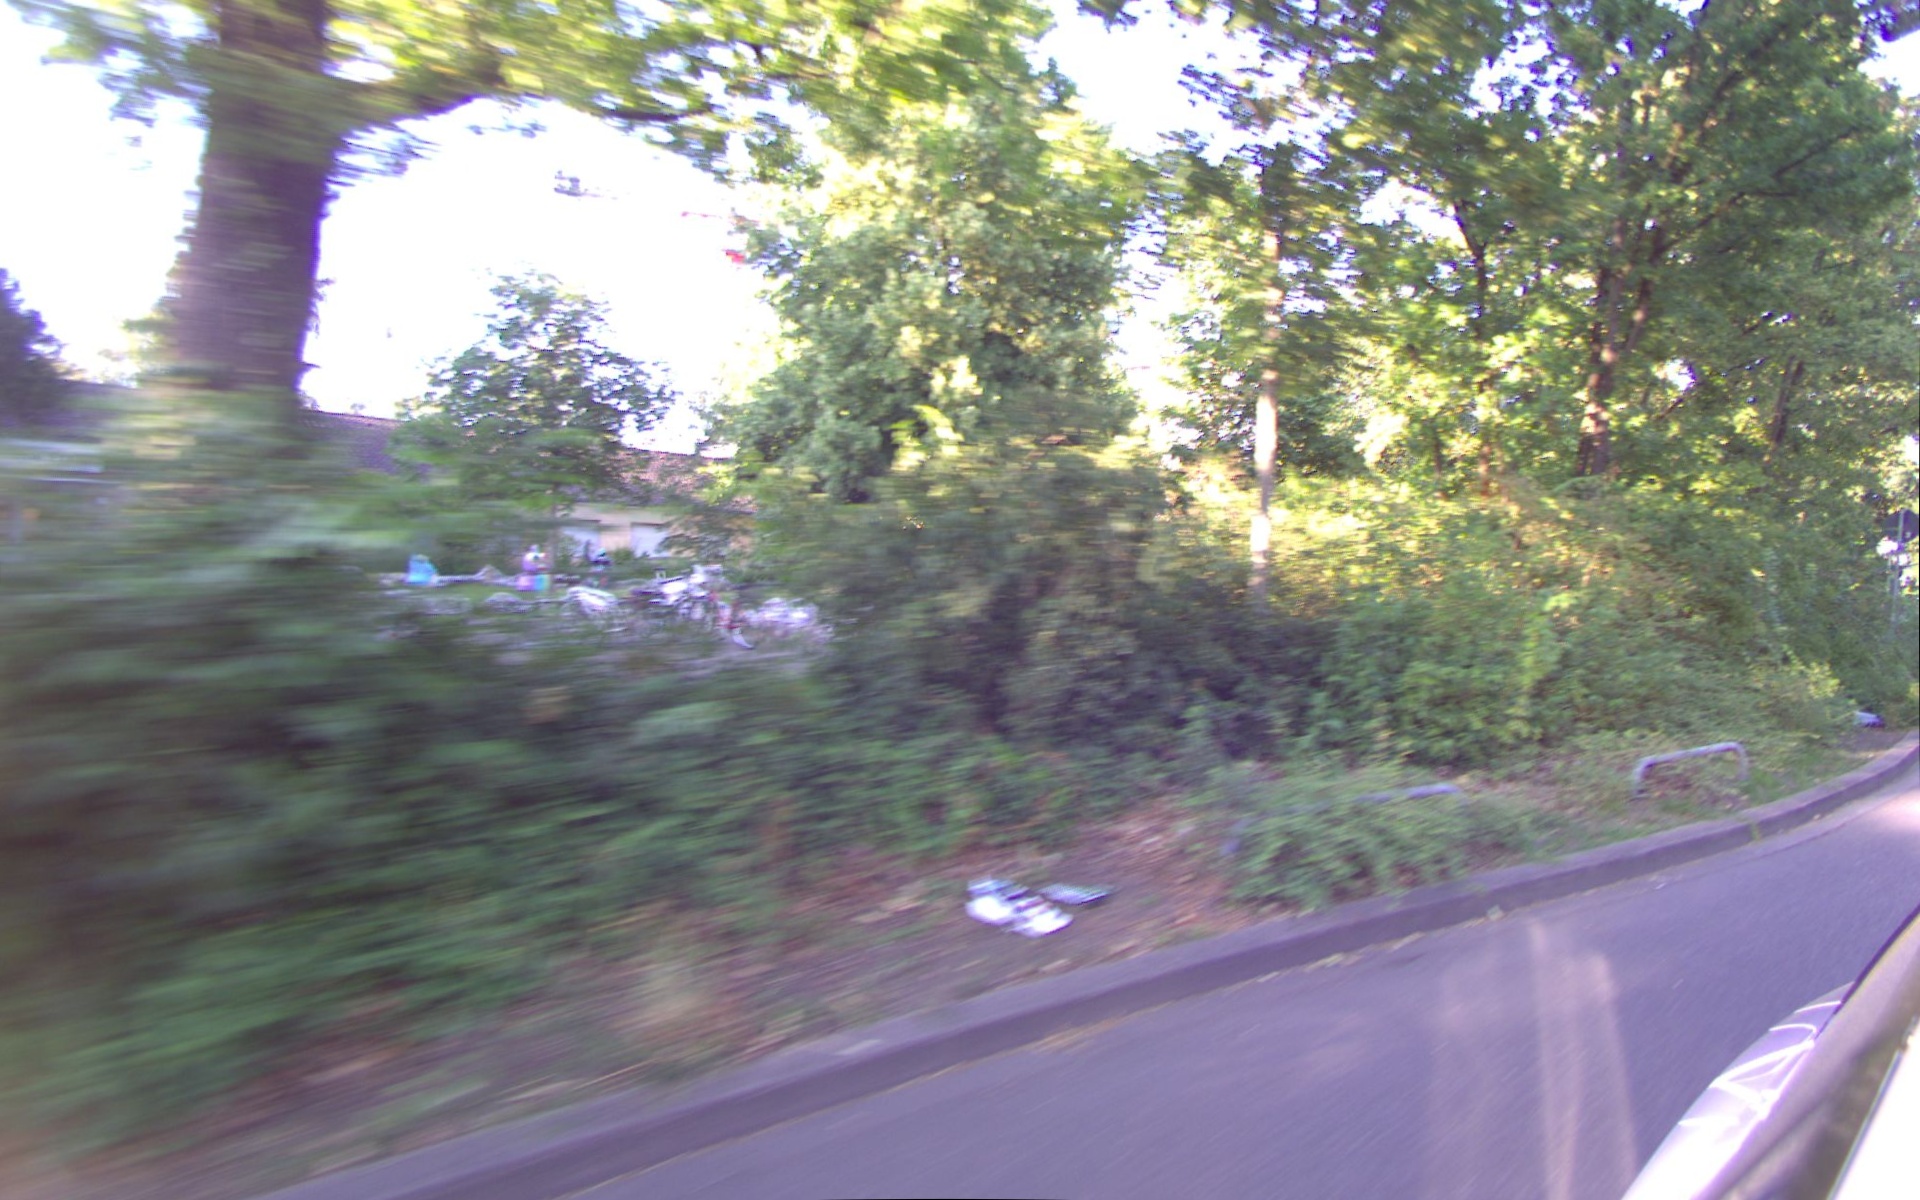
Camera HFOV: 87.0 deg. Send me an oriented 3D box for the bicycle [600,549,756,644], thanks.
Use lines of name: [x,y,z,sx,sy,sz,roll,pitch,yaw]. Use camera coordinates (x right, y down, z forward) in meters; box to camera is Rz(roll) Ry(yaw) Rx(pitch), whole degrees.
bicycle: [-4.299,-0.087,15.331,2.428,1.314,0.744,3,2,28]

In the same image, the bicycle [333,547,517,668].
bicycle: [-6.168,0.043,11.609,2.431,1.236,0.743,3,2,32]

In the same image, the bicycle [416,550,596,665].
bicycle: [-5.503,0.048,12.209,2.431,1.236,0.743,3,2,32]

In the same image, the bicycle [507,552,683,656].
bicycle: [-4.836,0.019,13.345,2.428,1.236,0.744,3,2,28]
